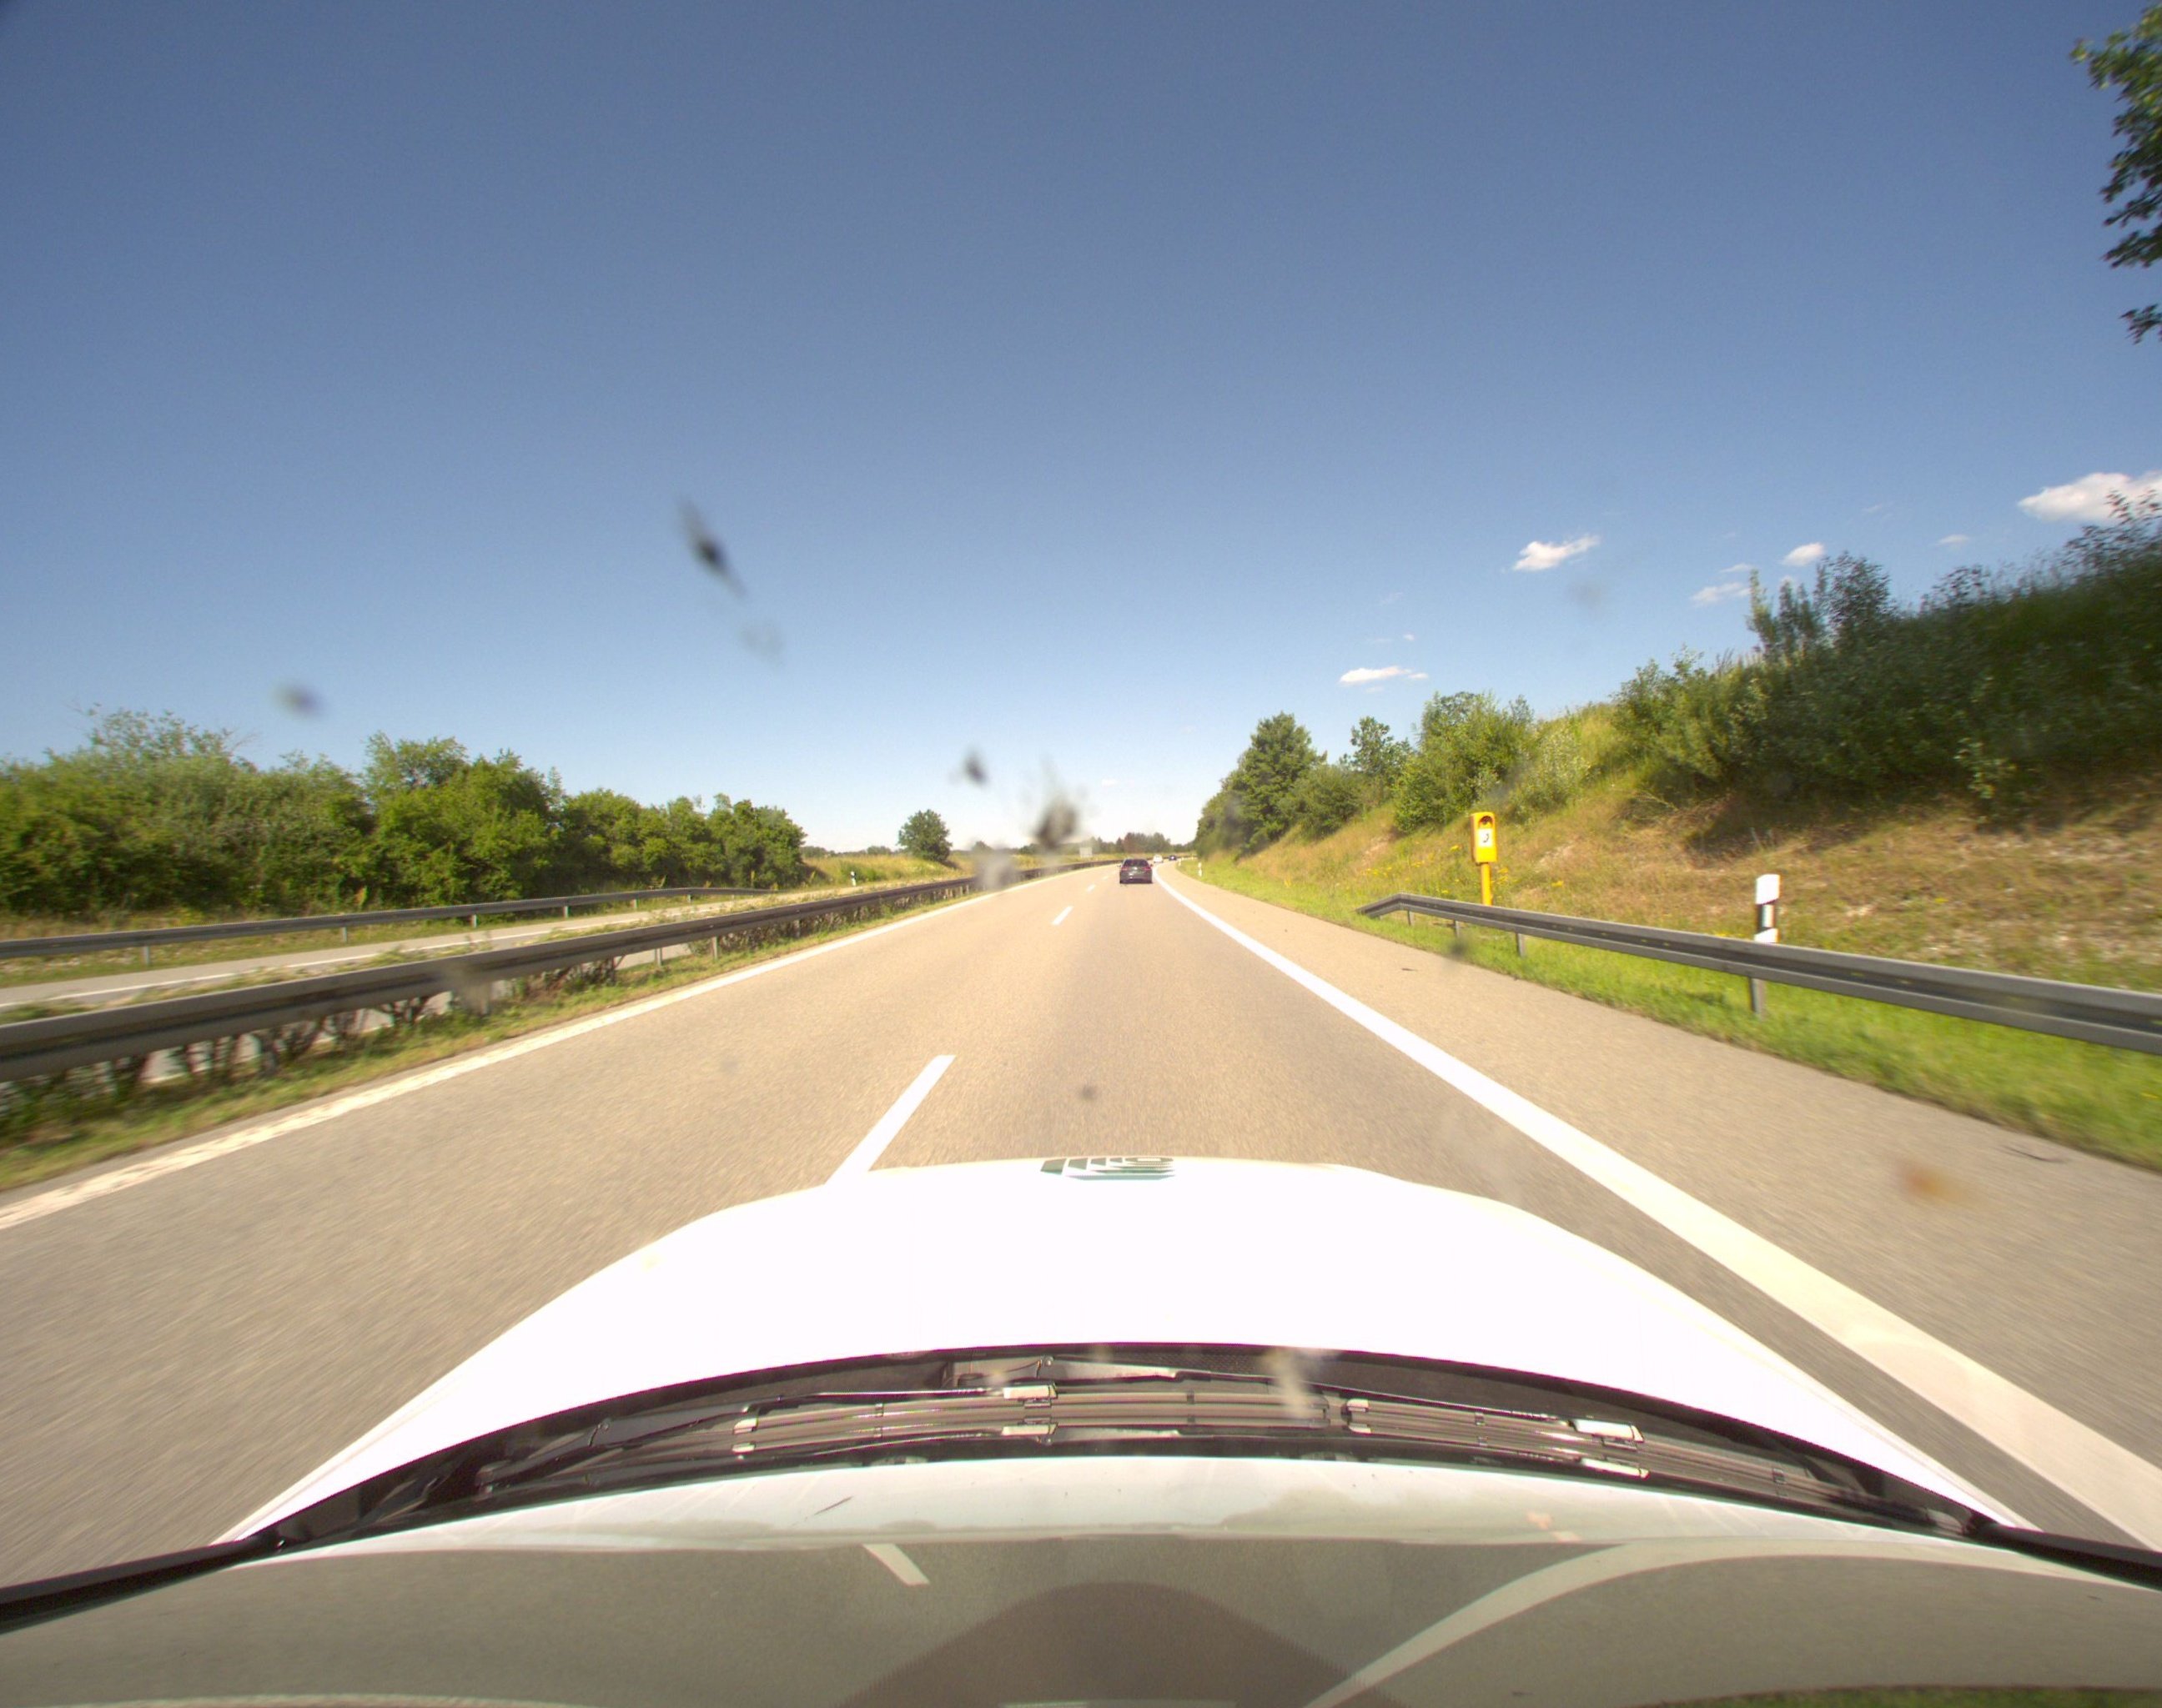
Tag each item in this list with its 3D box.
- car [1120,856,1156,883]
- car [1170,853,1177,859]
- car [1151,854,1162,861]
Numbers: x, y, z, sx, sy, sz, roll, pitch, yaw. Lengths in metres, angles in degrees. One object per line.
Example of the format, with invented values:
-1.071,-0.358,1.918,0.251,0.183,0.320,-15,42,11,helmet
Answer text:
3.091,0.830,45.153,1.784,1.344,4.001,-1,0,1,car
22.473,0.546,198.278,1.701,1.387,3.362,0,-1,8,car
14.801,0.677,159.087,1.996,1.344,4.008,0,-1,7,car
